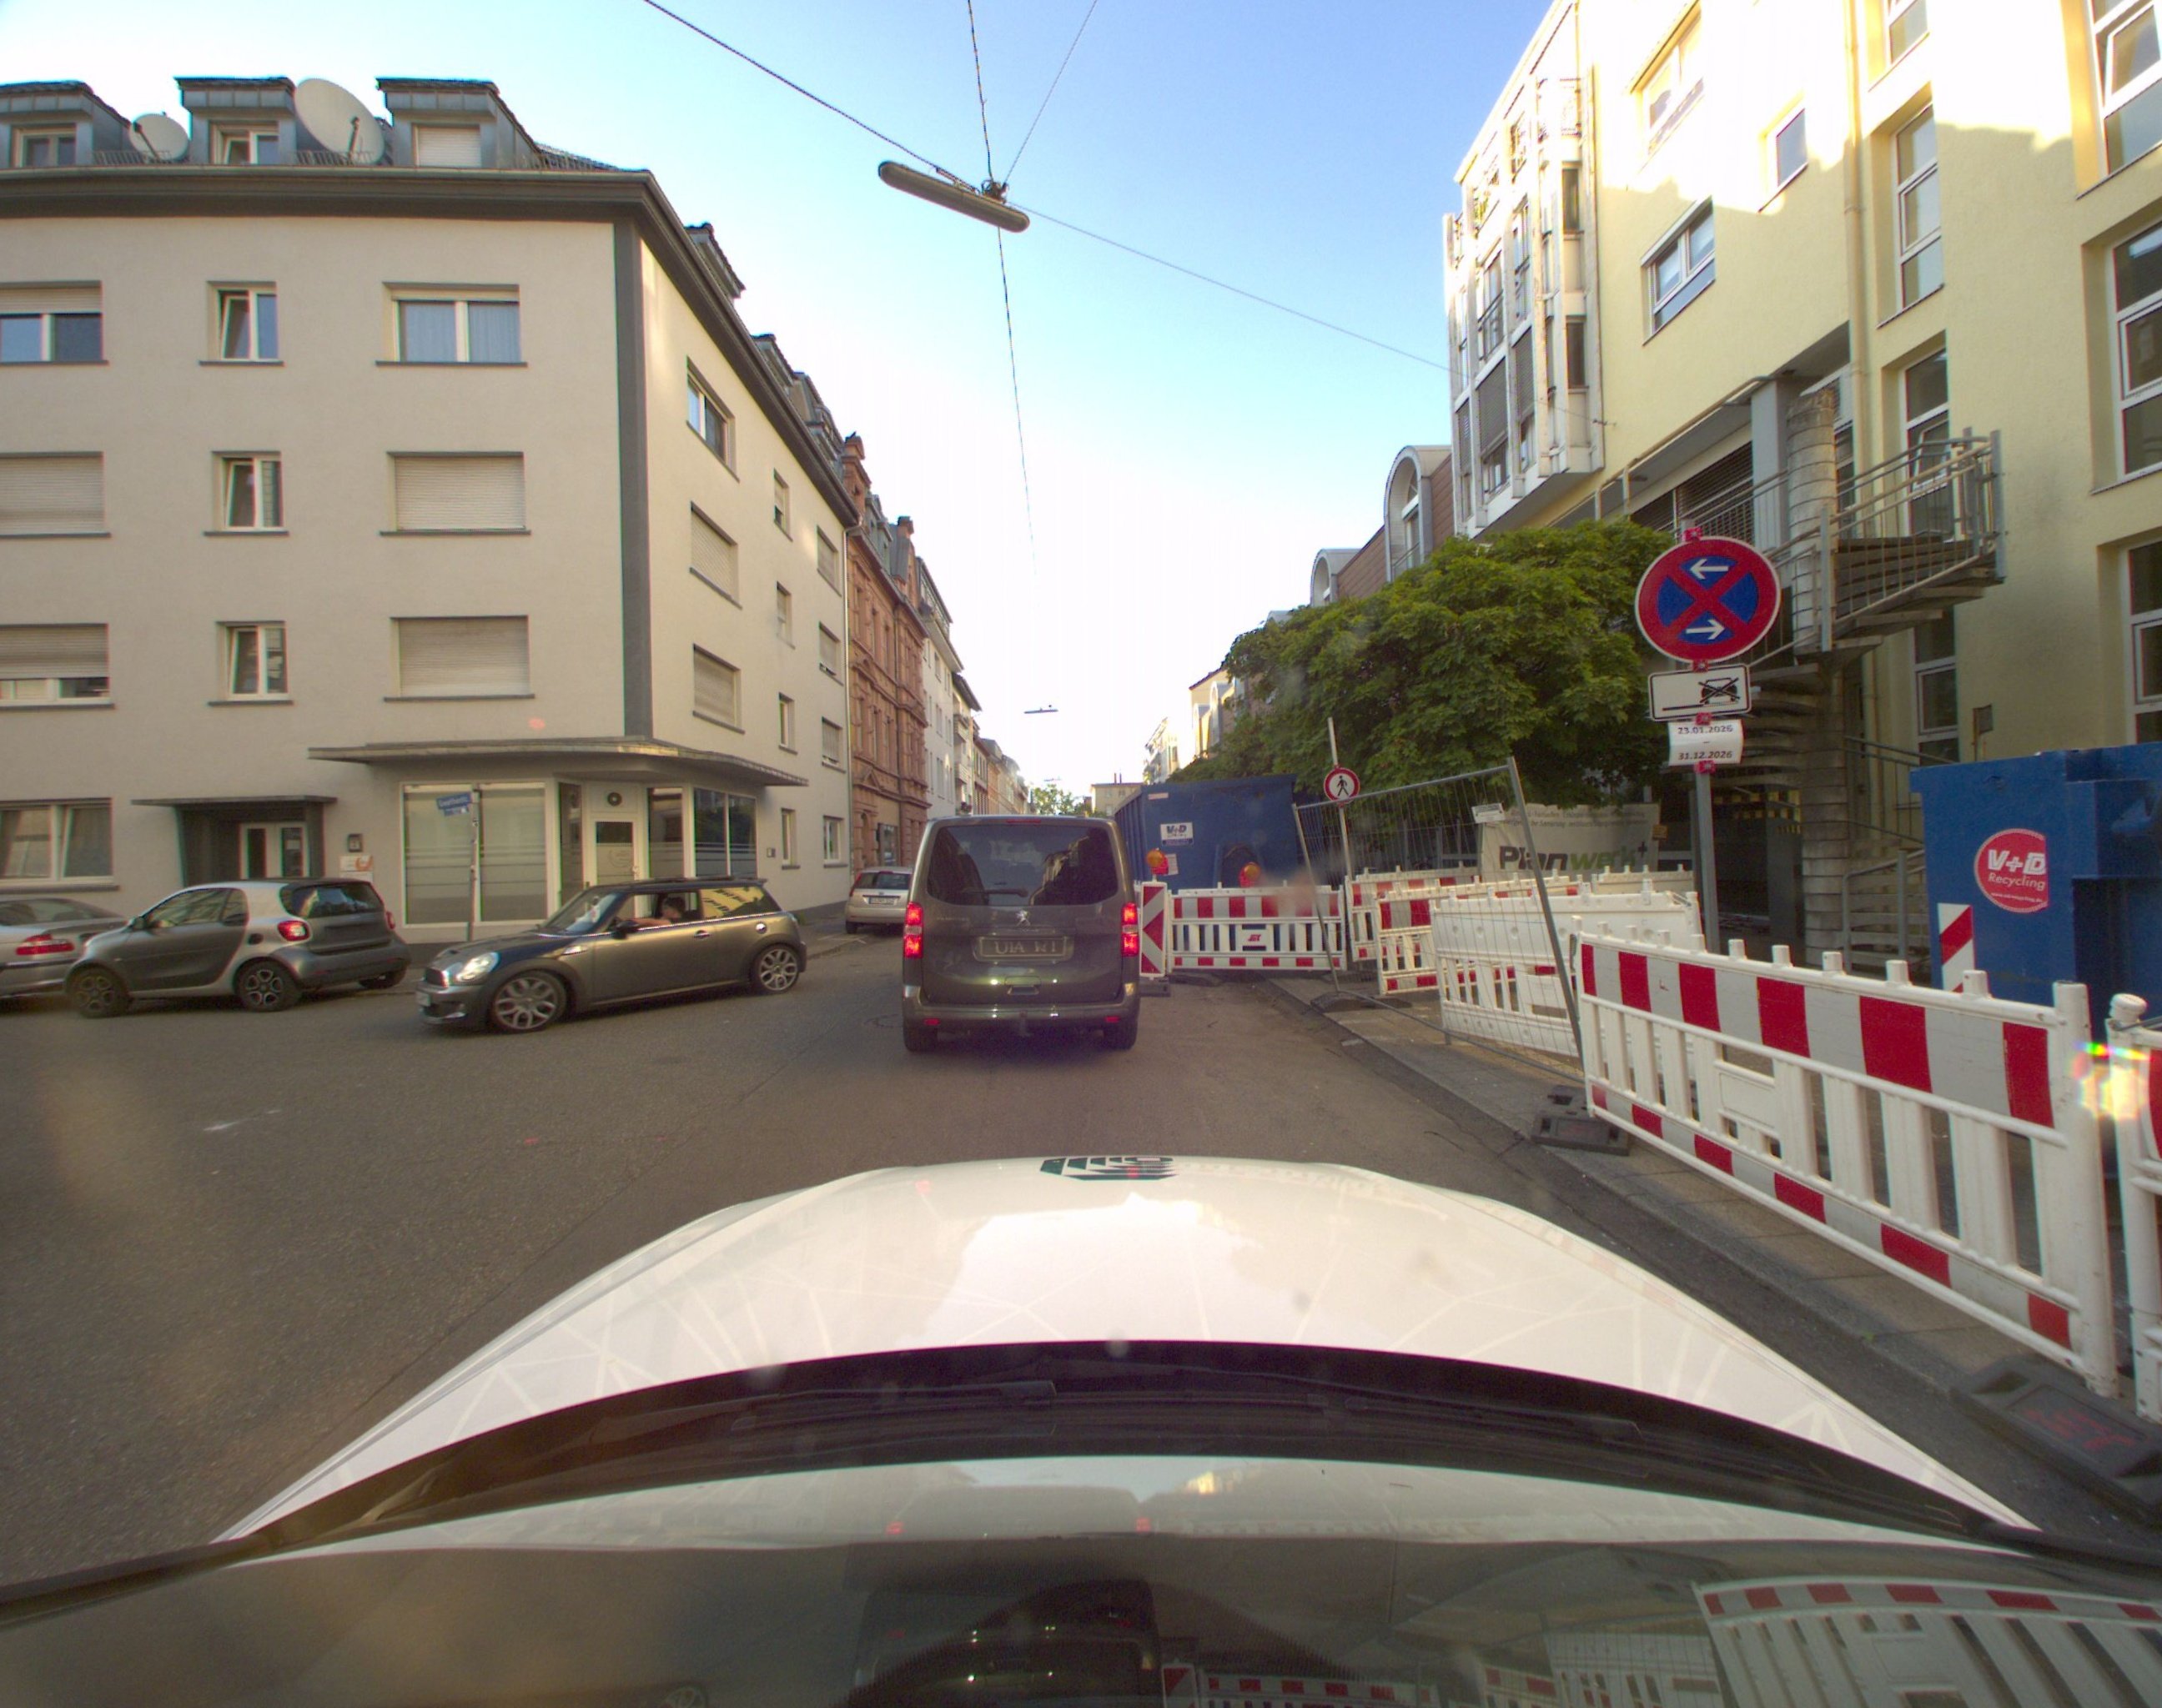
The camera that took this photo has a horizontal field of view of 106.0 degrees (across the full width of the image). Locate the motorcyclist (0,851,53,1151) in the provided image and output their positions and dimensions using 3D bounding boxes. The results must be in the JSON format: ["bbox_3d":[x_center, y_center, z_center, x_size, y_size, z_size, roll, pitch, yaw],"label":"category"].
[{"bbox_3d":[-6.175,0.777,4.059,0.991,1.567,0.876,0,1,7],"label":"motorcyclist"}]

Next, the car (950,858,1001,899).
[{"bbox_3d":[-4.474,1.011,34.992,1.735,1.599,4.012,-1,0,-2],"label":"car"}]

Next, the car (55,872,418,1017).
[{"bbox_3d":[-10.346,1.048,10.159,2.746,1.566,1.648,-1,0,-1],"label":"car"}]

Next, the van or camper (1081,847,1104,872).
[{"bbox_3d":[1.237,0.611,90.594,2.094,2.602,7.505,-3,0,-2],"label":"van or camper"}]

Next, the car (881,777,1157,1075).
[{"bbox_3d":[-0.492,0.514,7.838,1.853,2.013,3.997,-4,0,-2],"label":"car"}]

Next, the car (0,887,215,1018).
[{"bbox_3d":[-14.333,1.230,10.434,4.238,1.453,1.967,-1,0,-2],"label":"car"}]

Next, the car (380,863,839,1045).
[{"bbox_3d":[-5.039,0.899,9.201,1.974,1.486,4.026,-2,0,37],"label":"car"}]

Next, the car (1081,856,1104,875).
[{"bbox_3d":[1.025,1.057,74.752,1.719,1.612,4.582,-2,-1,-3],"label":"car"}]

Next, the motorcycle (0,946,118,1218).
[{"bbox_3d":[-6.061,1.133,4.053,1.684,1.249,0.808,0,1,6],"label":"motorcycle"}]

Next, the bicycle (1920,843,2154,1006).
[{"bbox_3d":[7.991,0.552,6.820,1.646,1.268,0.547,0,-1,-12],"label":"bicycle"}]

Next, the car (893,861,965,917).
[{"bbox_3d":[-4.452,0.972,24.283,1.551,1.508,3.595,1,0,-2],"label":"car"}]

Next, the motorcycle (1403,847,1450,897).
[{"bbox_3d":[9.196,0.473,21.764,0.863,1.222,2.468,-3,-1,17],"label":"motorcycle"}]

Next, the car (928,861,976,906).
[{"bbox_3d":[-4.833,1.068,30.768,1.392,1.588,2.792,-1,0,-2],"label":"car"}]

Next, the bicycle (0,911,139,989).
[{"bbox_3d":[-16.035,1.480,12.674,2.046,1.137,0.488,0,-1,-4],"label":"bicycle"}]

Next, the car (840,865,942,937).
[{"bbox_3d":[-4.269,1.003,18.807,1.628,1.430,3.552,-1,0,-2],"label":"car"}]

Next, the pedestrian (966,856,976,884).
[{"bbox_3d":[-6.394,0.918,47.238,0.493,1.638,0.665,0,-1,-1],"label":"pedestrian"}]
